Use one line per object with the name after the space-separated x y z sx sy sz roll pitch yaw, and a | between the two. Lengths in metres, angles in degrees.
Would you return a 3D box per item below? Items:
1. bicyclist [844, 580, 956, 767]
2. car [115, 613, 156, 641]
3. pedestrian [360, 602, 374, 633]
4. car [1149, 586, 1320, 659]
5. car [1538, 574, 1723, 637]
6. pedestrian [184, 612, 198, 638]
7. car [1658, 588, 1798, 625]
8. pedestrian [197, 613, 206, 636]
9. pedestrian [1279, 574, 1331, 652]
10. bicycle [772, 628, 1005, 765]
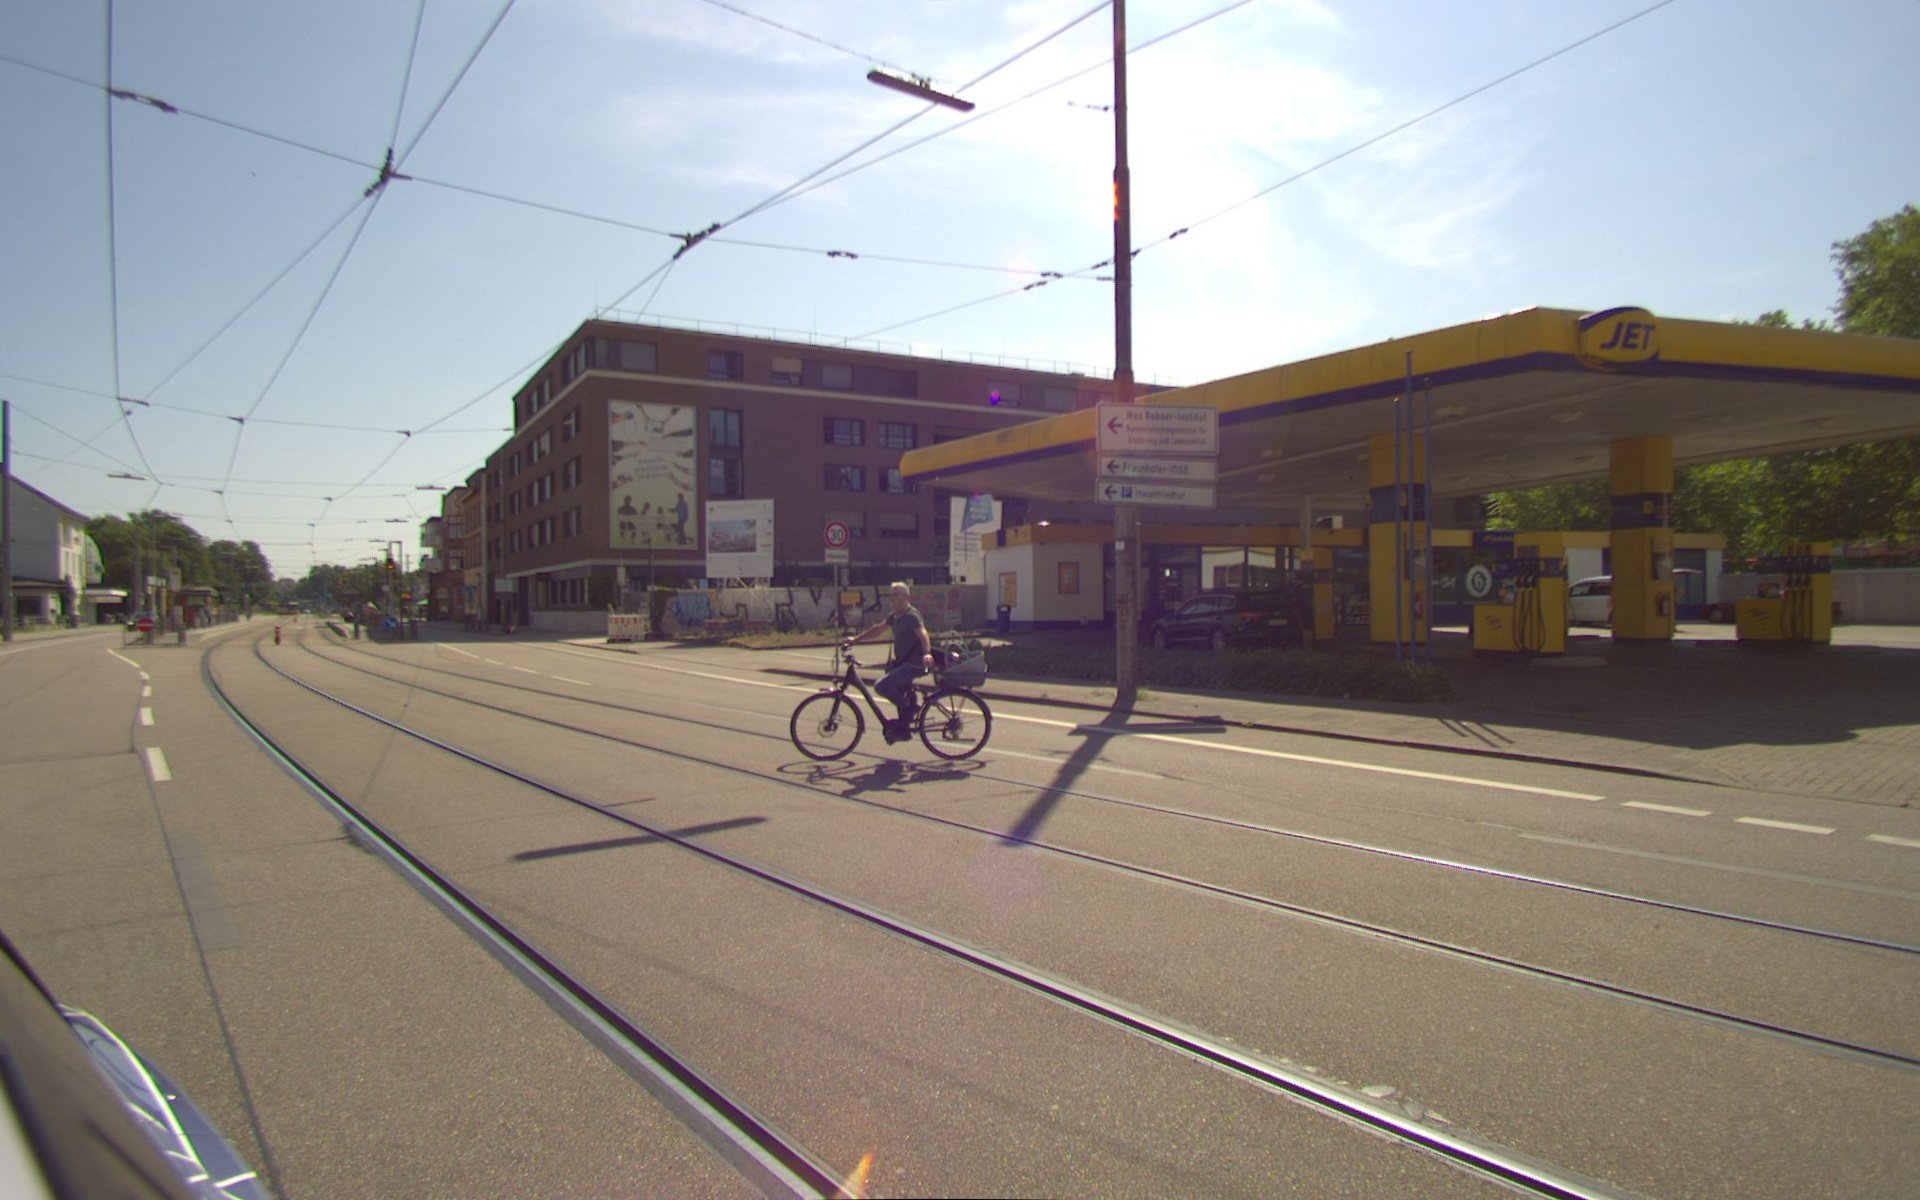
-0.521 0.640 9.187 0.951 1.607 0.906 0 -1 1 | bicyclist
-61.633 1.967 75.681 1.966 2.029 4.011 0 0 -34 | car
-33.451 0.987 57.125 0.549 1.773 0.795 -1 0 -39 | pedestrian
6.349 0.534 23.980 1.732 1.466 4.422 -4 0 -17 | car
23.145 0.180 35.218 1.731 1.997 5.324 -1 0 -20 | car
-50.330 1.623 66.199 0.696 1.702 0.417 0 -1 -41 | pedestrian
30.362 0.245 40.178 1.731 1.370 4.145 -1 0 -18 | car
-56.331 1.842 75.197 0.707 1.702 0.410 -1 -1 43 | pedestrian
7.826 0.288 22.962 0.845 1.738 0.746 -1 0 -38 | pedestrian
-0.641 0.886 9.434 2.096 1.206 0.611 -1 0 4 | bicycle
